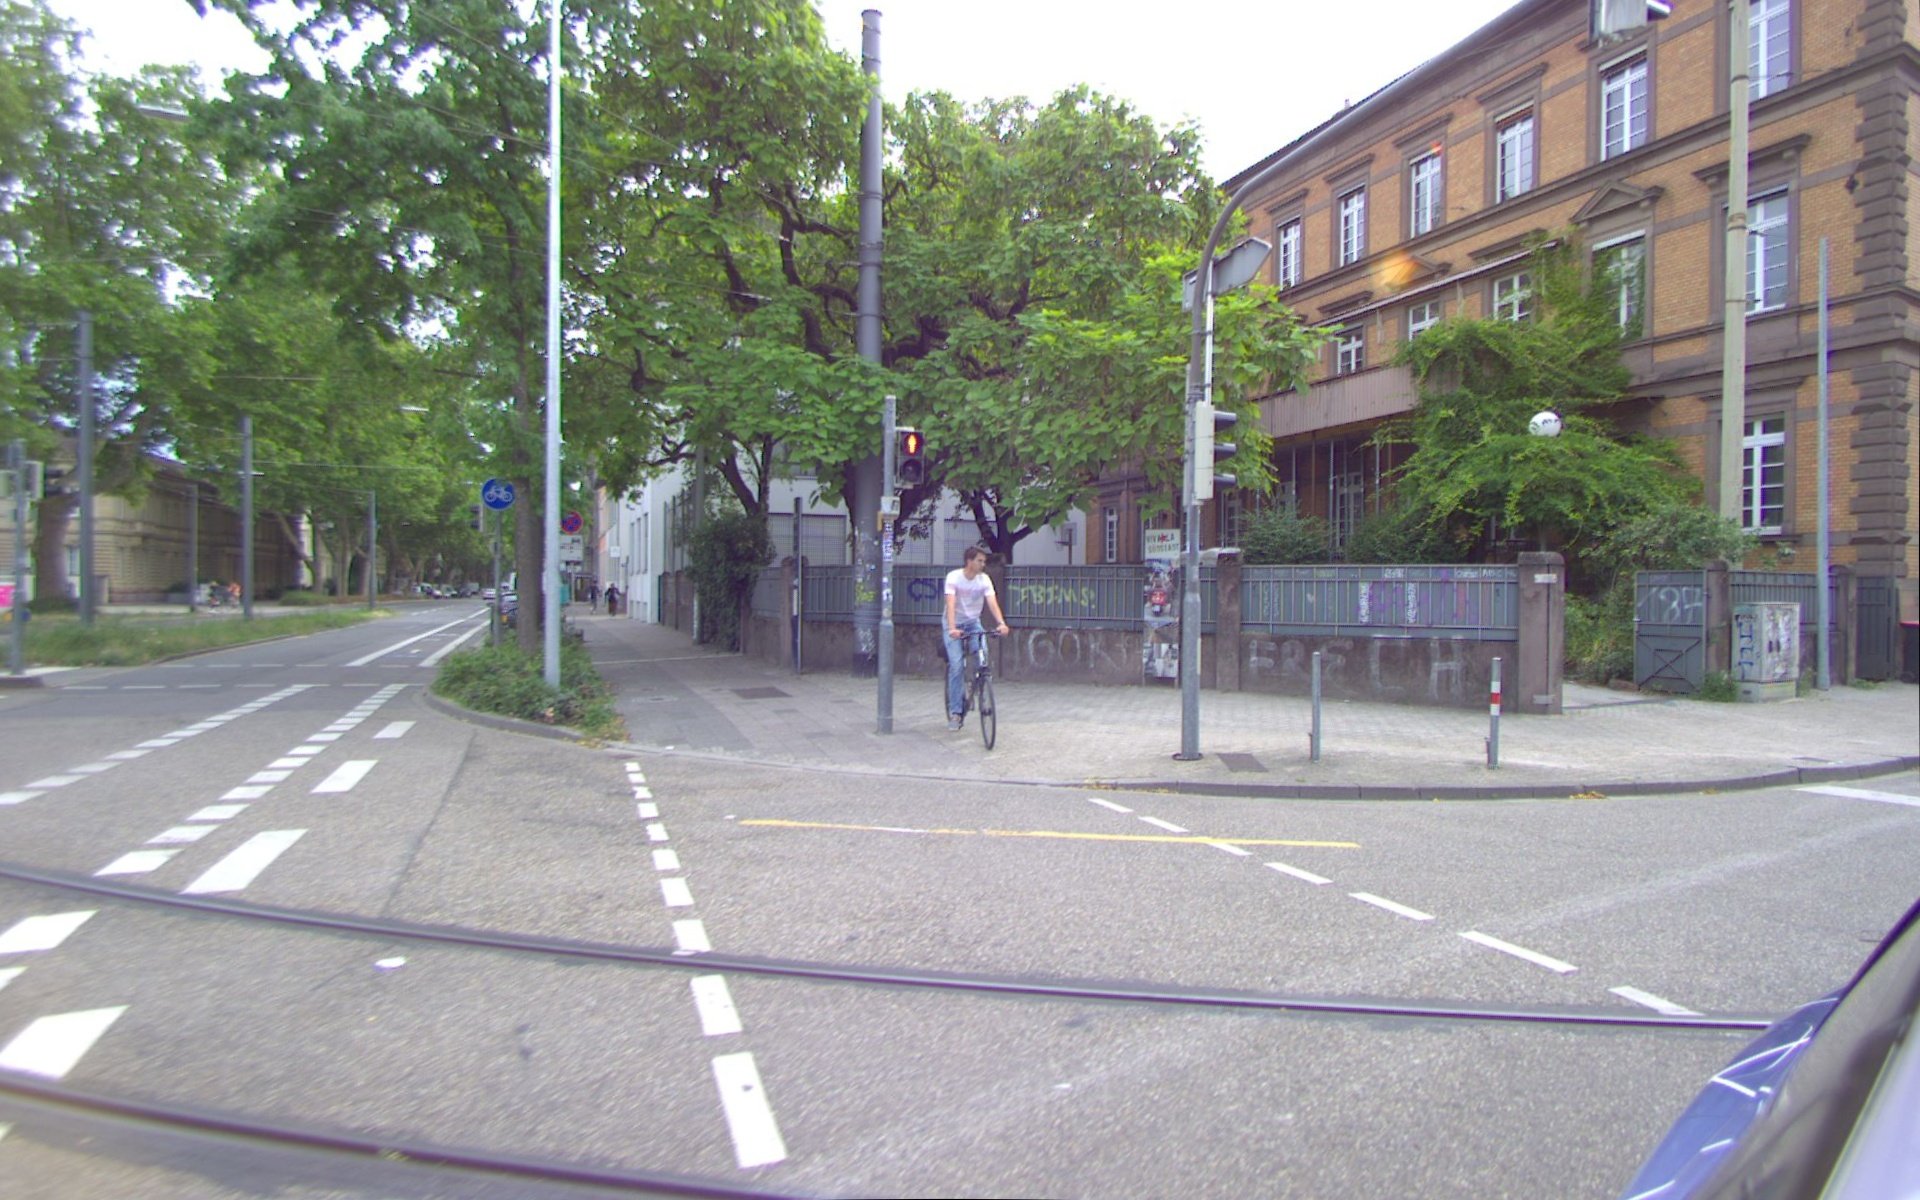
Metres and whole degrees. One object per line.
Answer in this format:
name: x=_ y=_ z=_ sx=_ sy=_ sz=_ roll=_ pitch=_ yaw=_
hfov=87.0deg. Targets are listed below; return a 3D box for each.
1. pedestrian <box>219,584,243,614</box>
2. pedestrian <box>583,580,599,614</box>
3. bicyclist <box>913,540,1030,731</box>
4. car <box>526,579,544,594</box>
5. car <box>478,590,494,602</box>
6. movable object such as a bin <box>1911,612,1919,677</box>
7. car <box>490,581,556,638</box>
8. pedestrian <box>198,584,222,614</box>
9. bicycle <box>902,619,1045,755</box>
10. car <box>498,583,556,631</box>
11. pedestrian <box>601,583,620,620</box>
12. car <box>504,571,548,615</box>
pedestrian: x=-46.576 y=-0.067 z=64.666 sx=0.819 sy=1.888 sz=1.254 roll=0 pitch=0 yaw=-14
pedestrian: x=-19.654 y=-0.157 z=53.919 sx=0.753 sy=1.803 sz=0.767 roll=0 pitch=0 yaw=-21
bicyclist: x=0.093 y=0.297 z=10.171 sx=0.732 sy=1.782 sz=1.256 roll=-1 pitch=3 yaw=-22
car: x=-53.482 y=-1.741 z=127.499 sx=2.054 sy=1.830 sz=4.429 roll=0 pitch=0 yaw=-22
car: x=-63.360 y=-0.515 z=135.270 sx=1.809 sy=1.510 sz=3.753 roll=-1 pitch=-1 yaw=-26
movable object such as a bin: x=16.670 y=0.768 z=17.104 sx=0.664 sy=1.095 sz=0.654 roll=-1 pitch=4 yaw=-32
car: x=-13.169 y=0.238 z=30.648 sx=1.700 sy=1.581 sz=4.429 roll=0 pitch=0 yaw=-22
pedestrian: x=-47.536 y=-0.062 z=64.160 sx=0.819 sy=1.888 sz=1.178 roll=0 pitch=0 yaw=-12
bicycle: x=0.077 y=0.812 z=10.250 sx=0.735 sy=1.099 sz=2.021 roll=-1 pitch=3 yaw=-21
car: x=-15.079 y=0.200 z=35.347 sx=1.723 sy=1.555 sz=4.429 roll=0 pitch=0 yaw=-22
pedestrian: x=-15.823 y=0.060 z=45.786 sx=0.753 sy=1.671 sz=0.767 roll=0 pitch=0 yaw=-23
car: x=-22.988 y=-0.391 z=53.721 sx=2.054 sy=2.217 sz=4.429 roll=0 pitch=0 yaw=-22
